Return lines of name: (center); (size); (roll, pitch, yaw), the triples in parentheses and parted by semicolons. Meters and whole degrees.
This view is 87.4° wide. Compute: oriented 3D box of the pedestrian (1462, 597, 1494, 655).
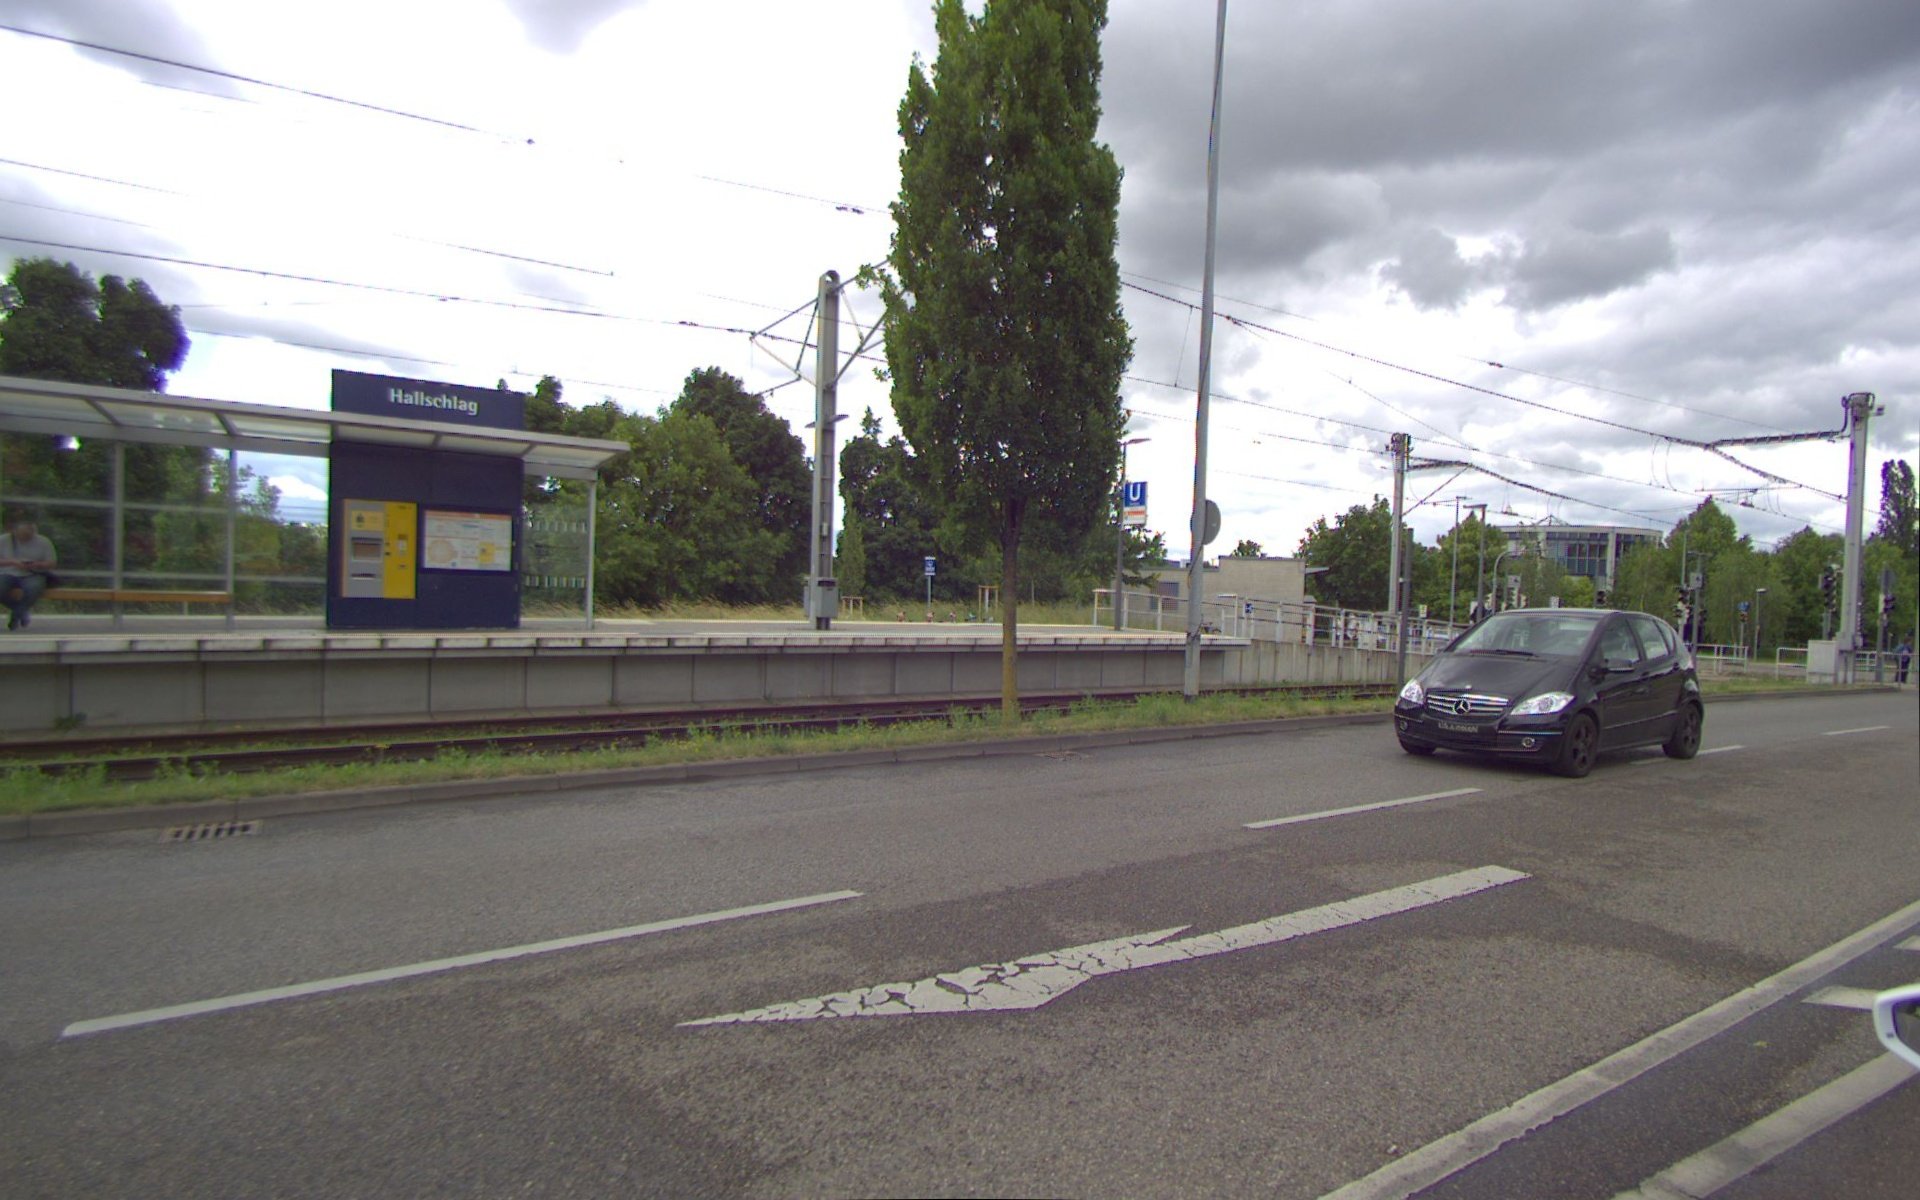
pedestrian: (16.953, 0.856, 32.863); (0.785, 1.852, 0.568); (2, 0, -34)

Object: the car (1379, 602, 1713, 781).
car: (6.354, 0.873, 10.785); (3.670, 1.594, 1.714); (2, -1, -35)

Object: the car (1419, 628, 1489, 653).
car: (31.322, 2.543, 63.796); (1.496, 1.395, 3.979); (2, -1, -22)

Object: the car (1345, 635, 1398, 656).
car: (28.781, 3.153, 70.334); (1.530, 1.327, 3.276); (2, -1, -22)

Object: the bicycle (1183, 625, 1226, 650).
bicycle: (10.650, 1.615, 43.683); (1.762, 1.029, 0.411); (2, 0, 18)

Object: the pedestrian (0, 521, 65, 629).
pedestrian: (-11.629, -0.300, 12.467); (0.653, 1.286, 0.606); (2, -1, -35)

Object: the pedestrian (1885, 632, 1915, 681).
pedestrian: (31.129, 1.862, 33.254); (0.640, 1.577, 0.354); (-1, 1, 4)

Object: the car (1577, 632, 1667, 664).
car: (37.288, 2.689, 56.653); (1.706, 1.536, 3.982); (3, -1, -19)
